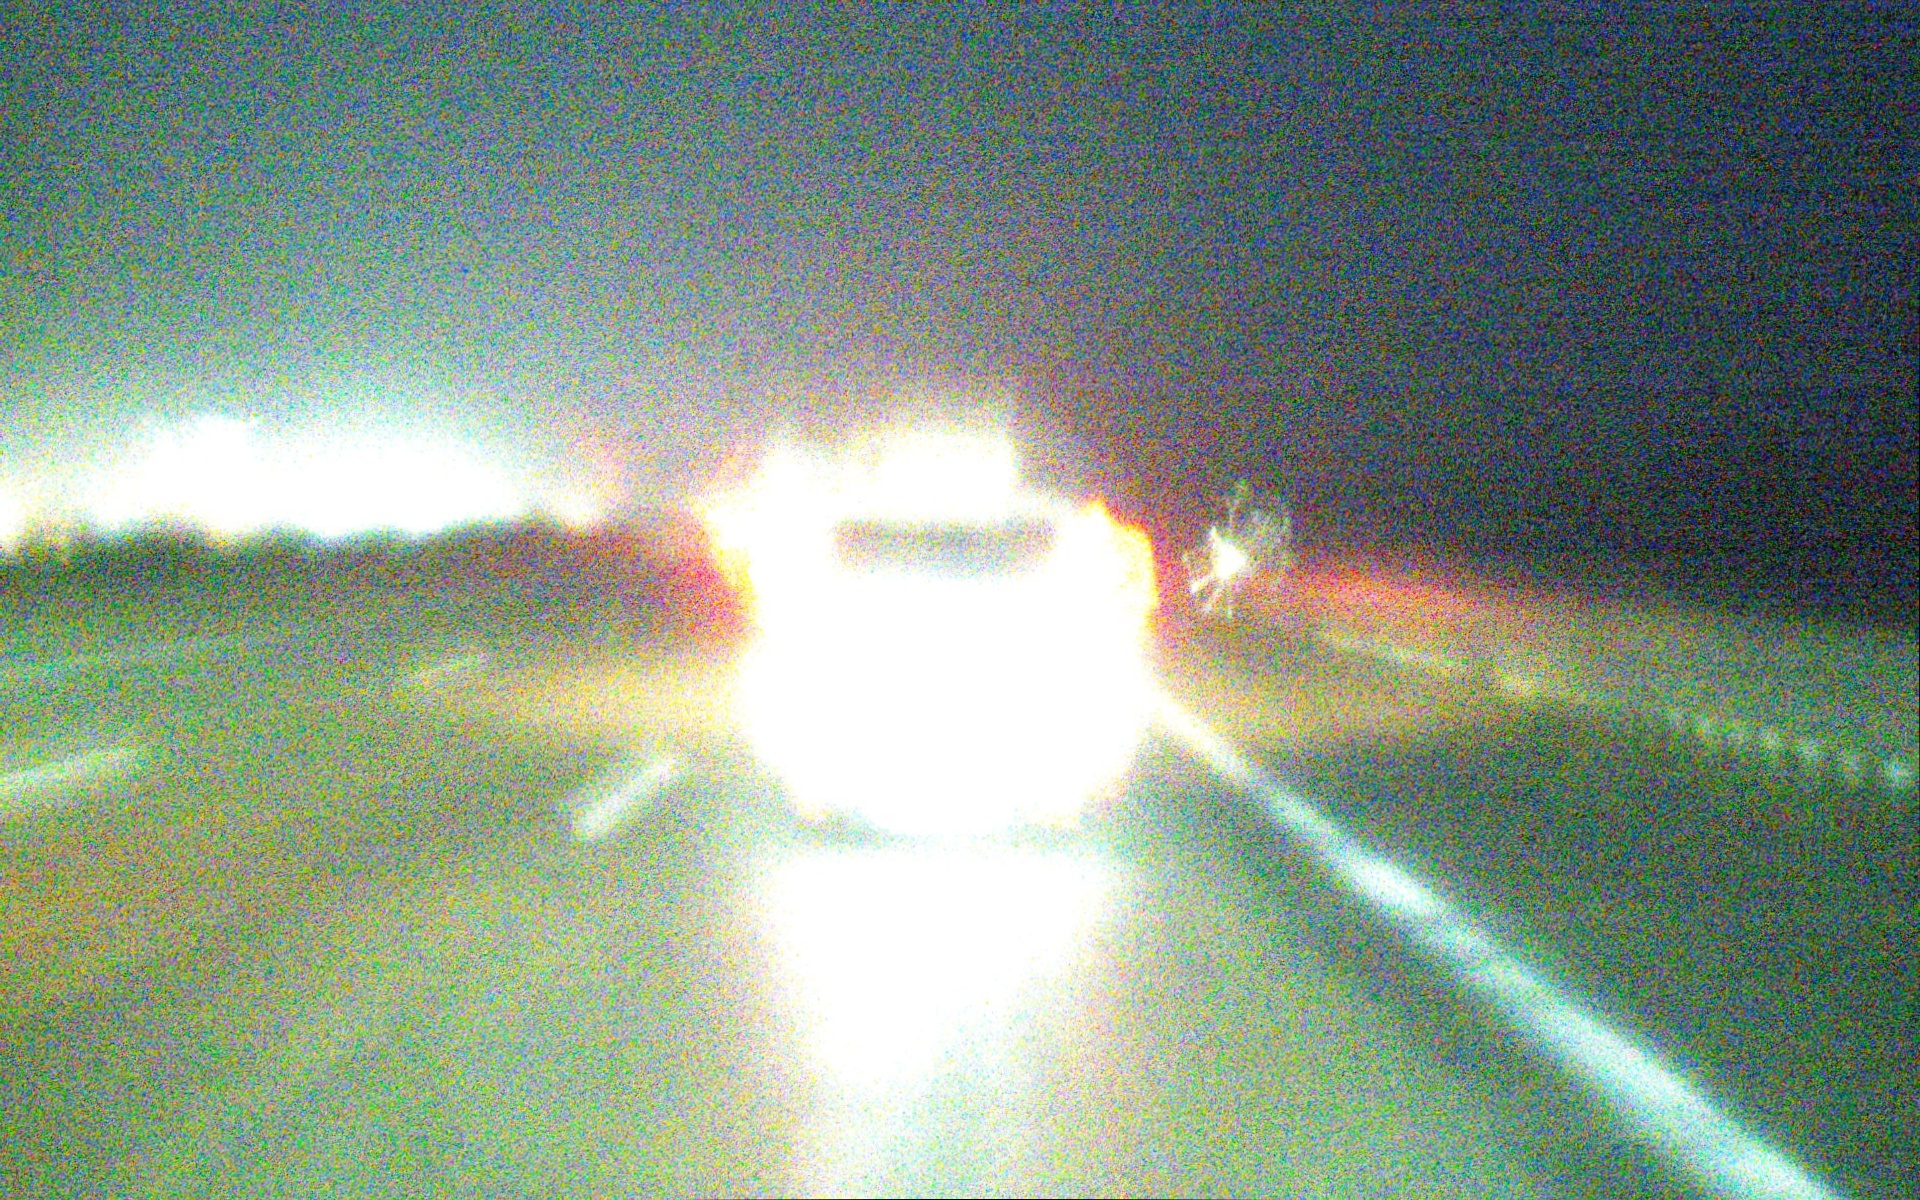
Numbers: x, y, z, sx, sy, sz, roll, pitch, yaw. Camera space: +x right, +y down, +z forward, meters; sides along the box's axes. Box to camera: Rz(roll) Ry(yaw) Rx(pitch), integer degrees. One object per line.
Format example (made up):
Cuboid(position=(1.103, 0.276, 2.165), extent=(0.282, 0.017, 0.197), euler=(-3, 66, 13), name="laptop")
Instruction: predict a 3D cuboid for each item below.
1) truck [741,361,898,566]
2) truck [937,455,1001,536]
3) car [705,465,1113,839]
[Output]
Cuboid(position=(-3.957, -3.808, 100.531), extent=(4.167, 5.525, 13.075), euler=(1, 1, -1), name="truck")
Cuboid(position=(0.530, -6.673, 221.001), extent=(3.824, 4.898, 11.607), euler=(1, 1, -1), name="truck")
Cuboid(position=(-0.247, 0.222, 19.288), extent=(1.953, 1.786, 5.124), euler=(1, 1, 0), name="car")
